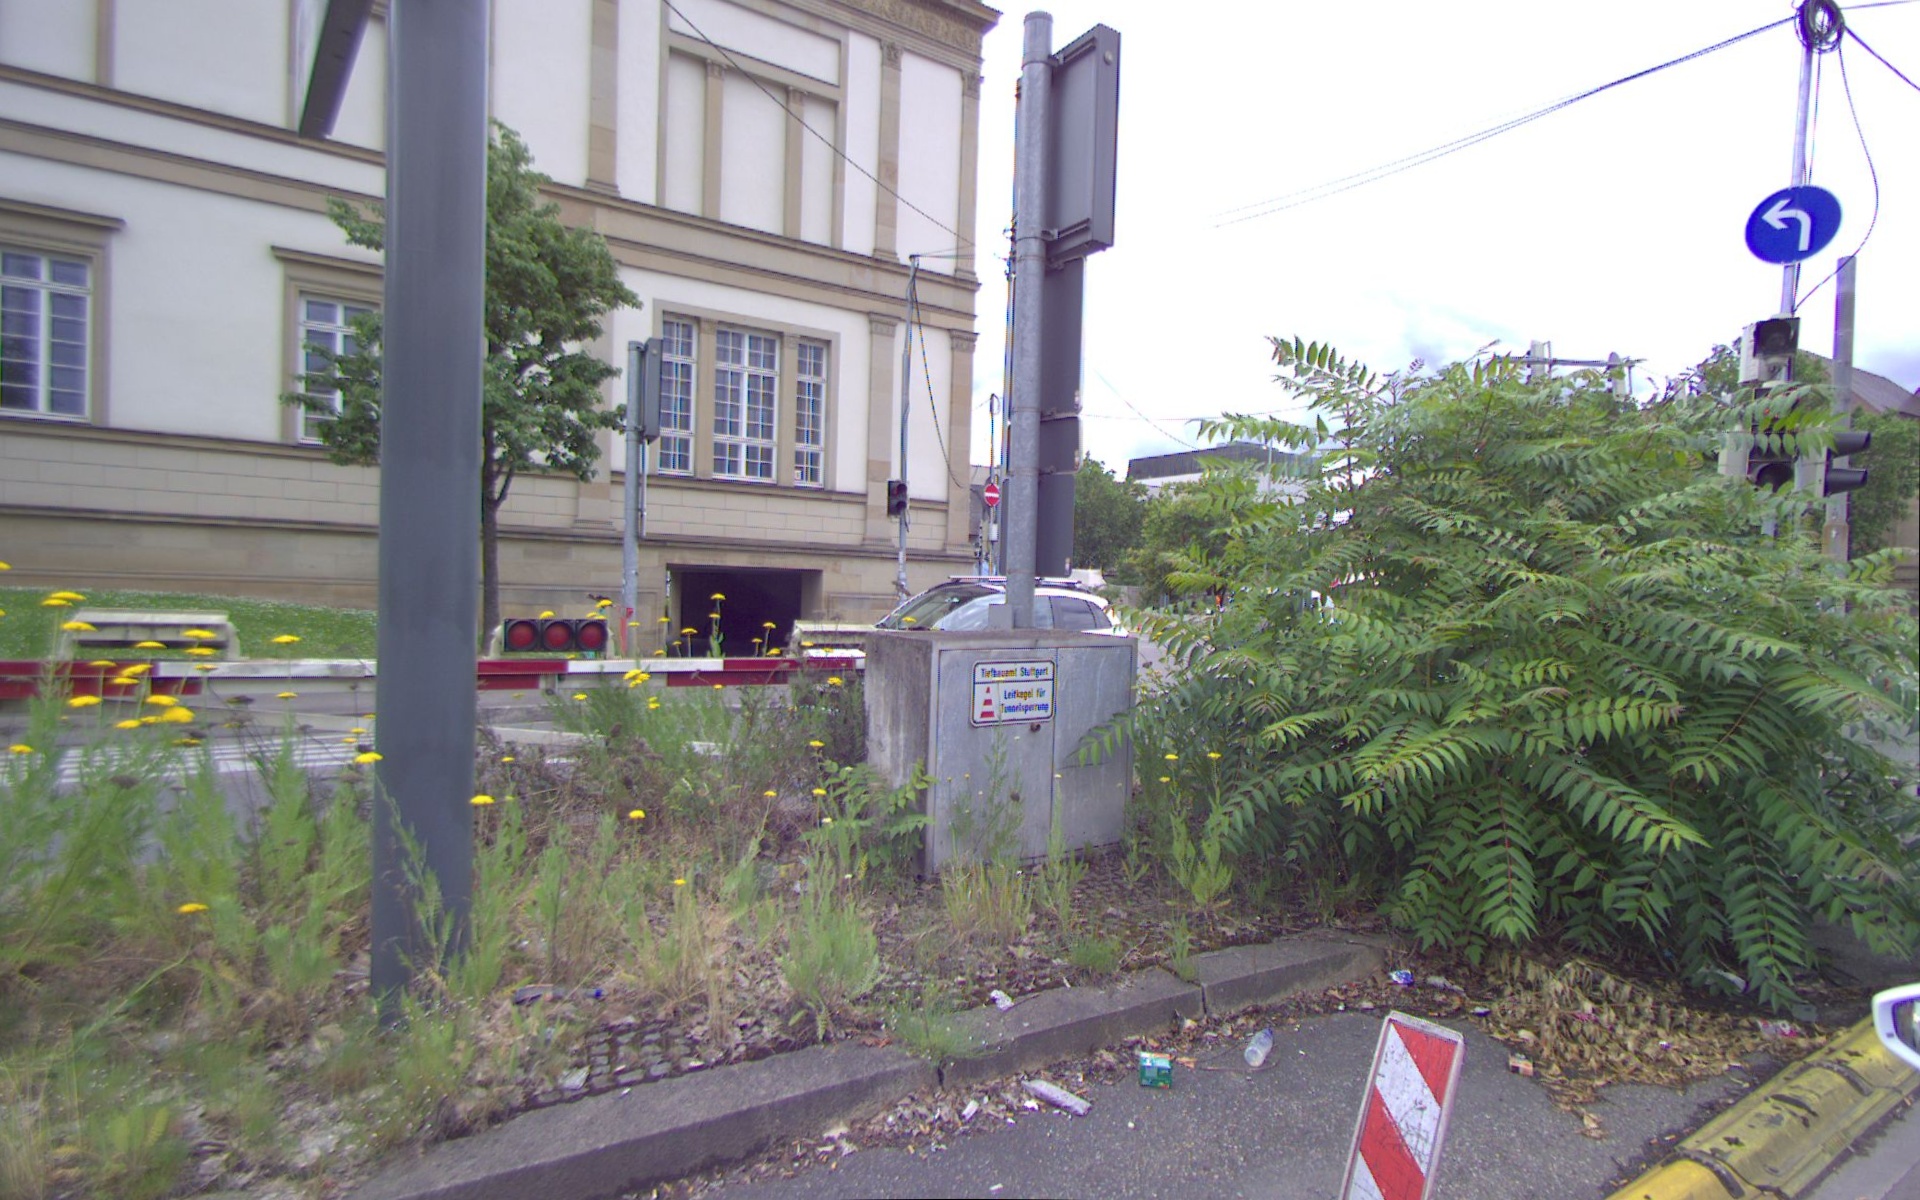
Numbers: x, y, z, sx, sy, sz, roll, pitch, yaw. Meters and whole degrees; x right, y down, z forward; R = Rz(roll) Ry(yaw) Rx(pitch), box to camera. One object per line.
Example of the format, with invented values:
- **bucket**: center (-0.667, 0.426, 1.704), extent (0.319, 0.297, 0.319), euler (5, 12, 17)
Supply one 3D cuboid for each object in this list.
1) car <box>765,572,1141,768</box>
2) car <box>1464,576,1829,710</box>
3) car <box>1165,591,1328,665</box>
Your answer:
- **car**: center (0.121, 0.588, 10.632), extent (1.875, 1.647, 4.091), euler (1, 0, 37)
- **car**: center (13.744, 0.749, 20.579), extent (2.280, 2.336, 5.723), euler (2, 0, -34)
- **car**: center (7.978, 0.734, 28.340), extent (1.812, 1.907, 4.239), euler (2, 0, -34)
